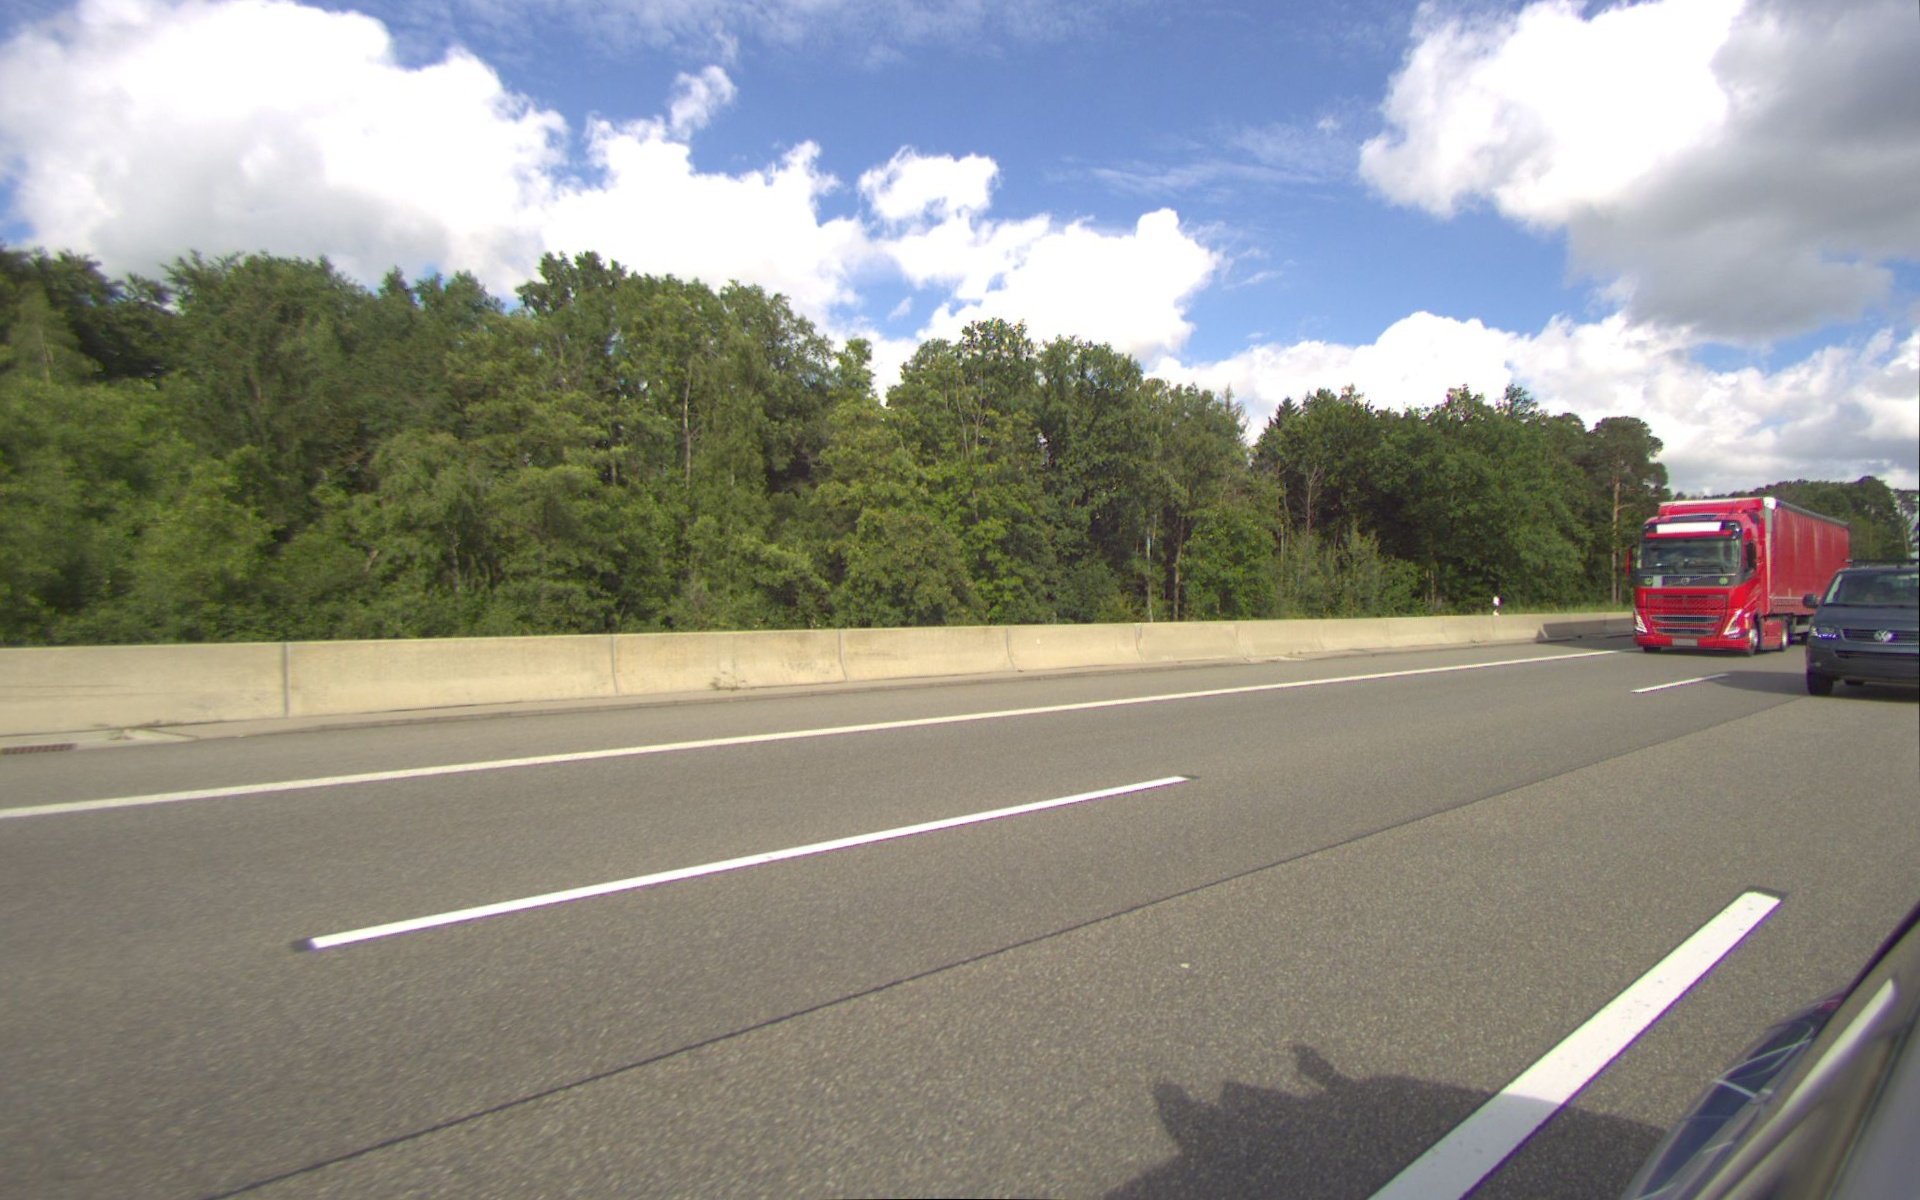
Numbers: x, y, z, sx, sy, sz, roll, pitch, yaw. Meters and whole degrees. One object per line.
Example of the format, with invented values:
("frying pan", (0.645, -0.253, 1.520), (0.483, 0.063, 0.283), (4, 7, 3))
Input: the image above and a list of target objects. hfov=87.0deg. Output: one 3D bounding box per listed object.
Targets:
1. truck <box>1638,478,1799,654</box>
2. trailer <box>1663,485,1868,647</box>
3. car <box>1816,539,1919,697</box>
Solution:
("truck", (20.259, -0.864, 26.986), (4.572, 4.255, 2.530), (0, 1, -41))
("trailer", (25.592, -0.935, 31.689), (14.127, 4.171, 2.529), (0, 1, -41))
("car", (15.046, 0.267, 15.798), (4.876, 2.193, 1.925), (1, 1, -42))
